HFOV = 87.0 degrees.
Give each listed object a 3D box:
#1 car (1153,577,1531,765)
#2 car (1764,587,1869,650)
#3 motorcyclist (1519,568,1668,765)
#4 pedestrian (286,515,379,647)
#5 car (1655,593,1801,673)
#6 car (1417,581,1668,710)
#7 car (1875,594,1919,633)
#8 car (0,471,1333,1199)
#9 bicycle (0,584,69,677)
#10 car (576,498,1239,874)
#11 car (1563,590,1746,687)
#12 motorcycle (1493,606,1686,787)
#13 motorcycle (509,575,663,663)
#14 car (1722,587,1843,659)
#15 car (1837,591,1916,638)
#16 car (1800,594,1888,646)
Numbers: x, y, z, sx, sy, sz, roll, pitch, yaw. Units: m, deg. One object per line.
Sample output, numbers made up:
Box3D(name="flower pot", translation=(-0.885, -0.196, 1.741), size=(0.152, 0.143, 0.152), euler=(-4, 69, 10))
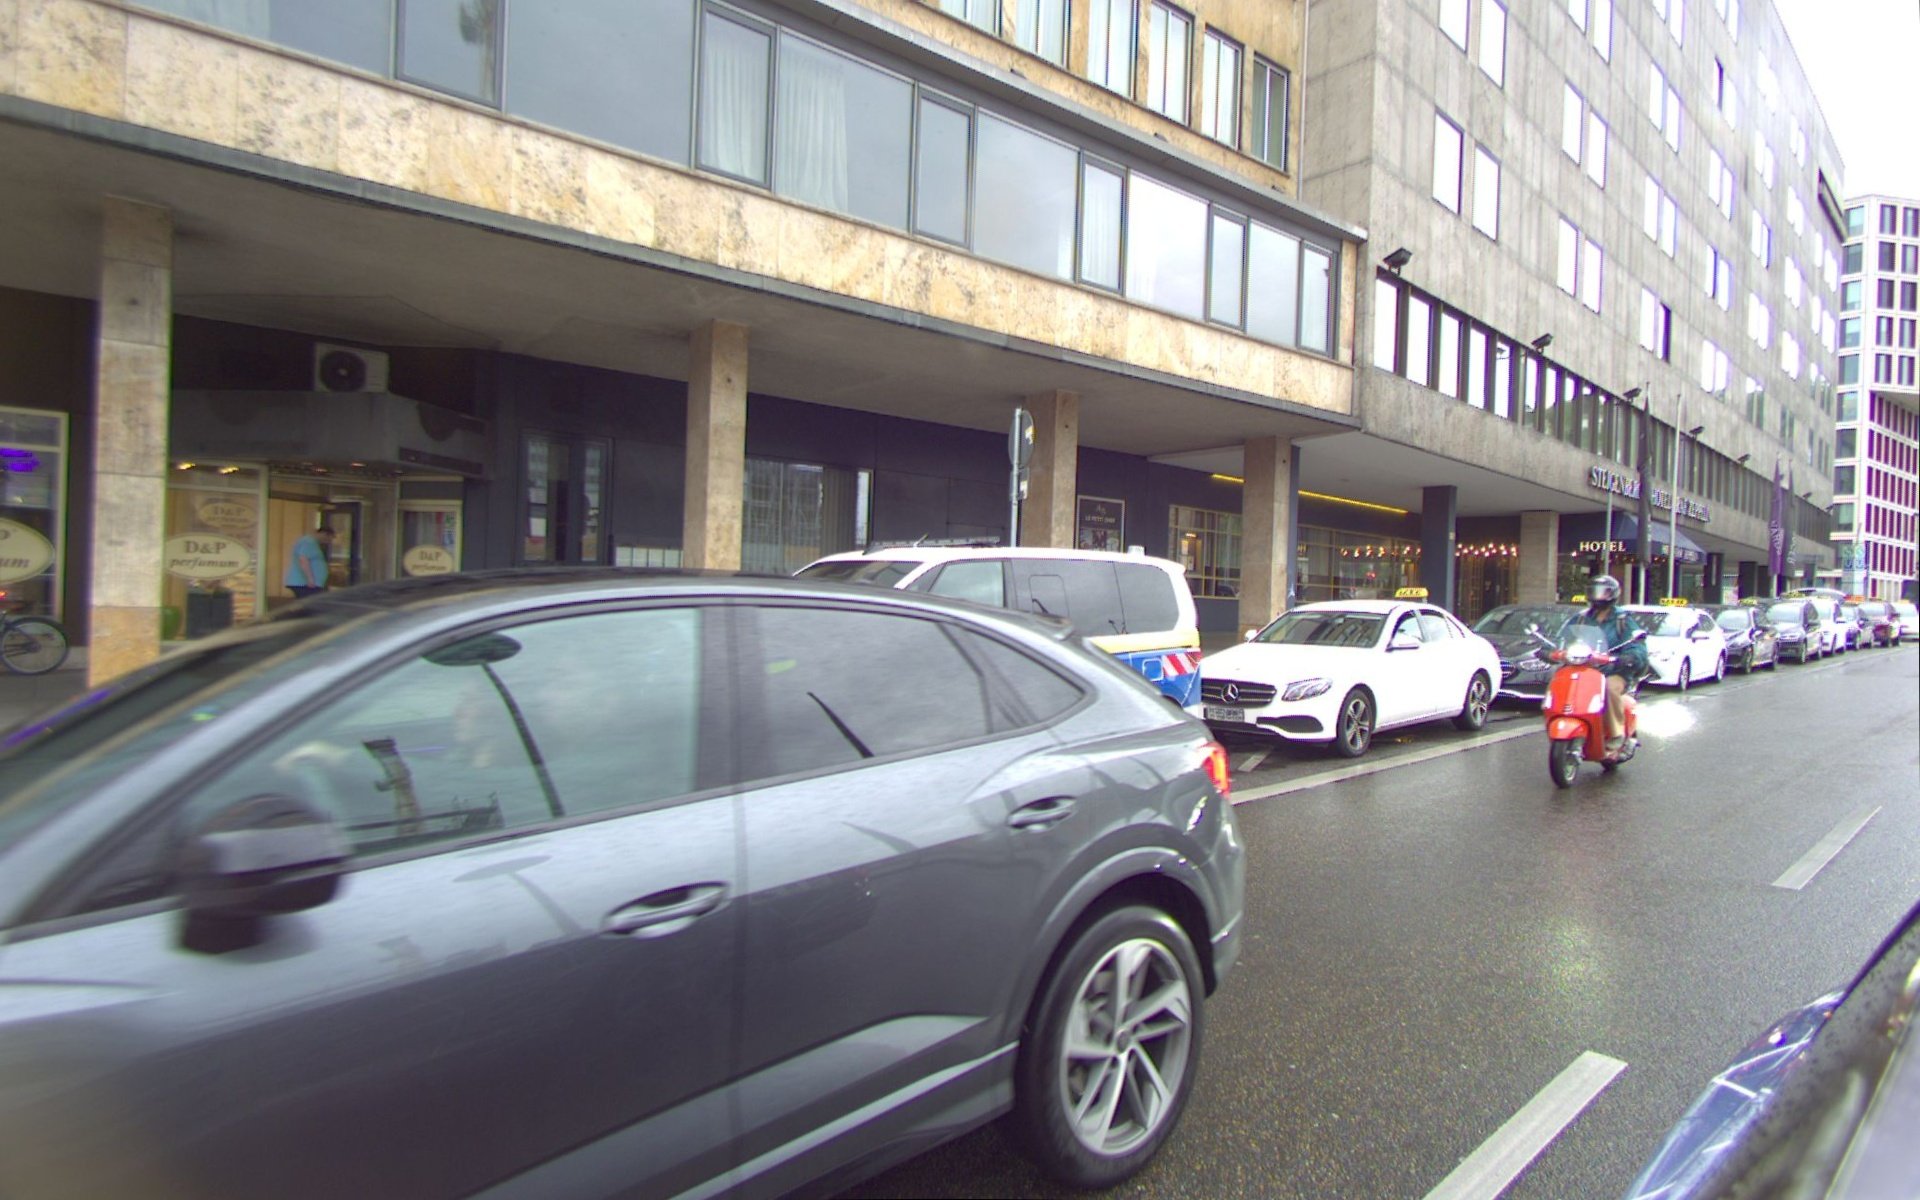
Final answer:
Box3D(name="car", translation=(4.439, 0.609, 11.309), size=(4.924, 1.658, 1.877), euler=(0, 0, -41))
Box3D(name="car", translation=(25.682, 0.500, 30.305), size=(4.731, 1.764, 1.729), euler=(0, 0, -41))
Box3D(name="motorcyclist", translation=(5.341, 0.515, 8.539), size=(0.829, 1.547, 0.860), euler=(0, 0, -40))
Box3D(name="pedestrian", translation=(-9.001, -0.269, 14.525), size=(1.114, 1.813, 0.801), euler=(0, 0, -33))
Box3D(name="car", translation=(17.379, 0.654, 22.823), size=(4.731, 1.612, 1.729), euler=(0, 0, -41))
Box3D(name="car", translation=(8.908, 0.567, 15.282), size=(4.731, 1.658, 1.877), euler=(0, 0, -41))
Box3D(name="car", translation=(41.188, 0.542, 43.929), size=(3.932, 1.634, 1.729), euler=(0, 0, -41))
Box3D(name="car", translation=(-1.058, 0.599, 2.496), size=(4.266, 1.520, 1.882), euler=(0, 0, -41))
Box3D(name="bicycle", translation=(-11.661, 0.351, 11.397), size=(2.428, 1.059, 0.657), euler=(0, 0, -41))
Box3D(name="car", translation=(-0.101, 0.423, 7.549), size=(4.850, 1.944, 1.877), euler=(0, 0, -41))
Box3D(name="car", translation=(13.123, 0.616, 19.011), size=(4.731, 1.612, 1.729), euler=(0, 0, -41))
Box3D(name="motorcycle", translation=(5.329, 0.730, 8.520), size=(1.931, 1.323, 0.848), euler=(0, 0, -41))
Box3D(name="motorcycle", translation=(-5.503, 0.256, 14.946), size=(2.063, 1.233, 0.569), euler=(0, 0, -33))
Box3D(name="car", translation=(21.899, 0.536, 26.871), size=(4.731, 1.764, 1.729), euler=(0, 0, -41))
Box3D(name="car", translation=(33.651, 0.479, 37.142), size=(3.932, 1.634, 1.729), euler=(0, 0, -41))
Box3D(name="car", translation=(29.689, 0.615, 33.942), size=(3.932, 1.634, 1.729), euler=(0, 0, -41))
